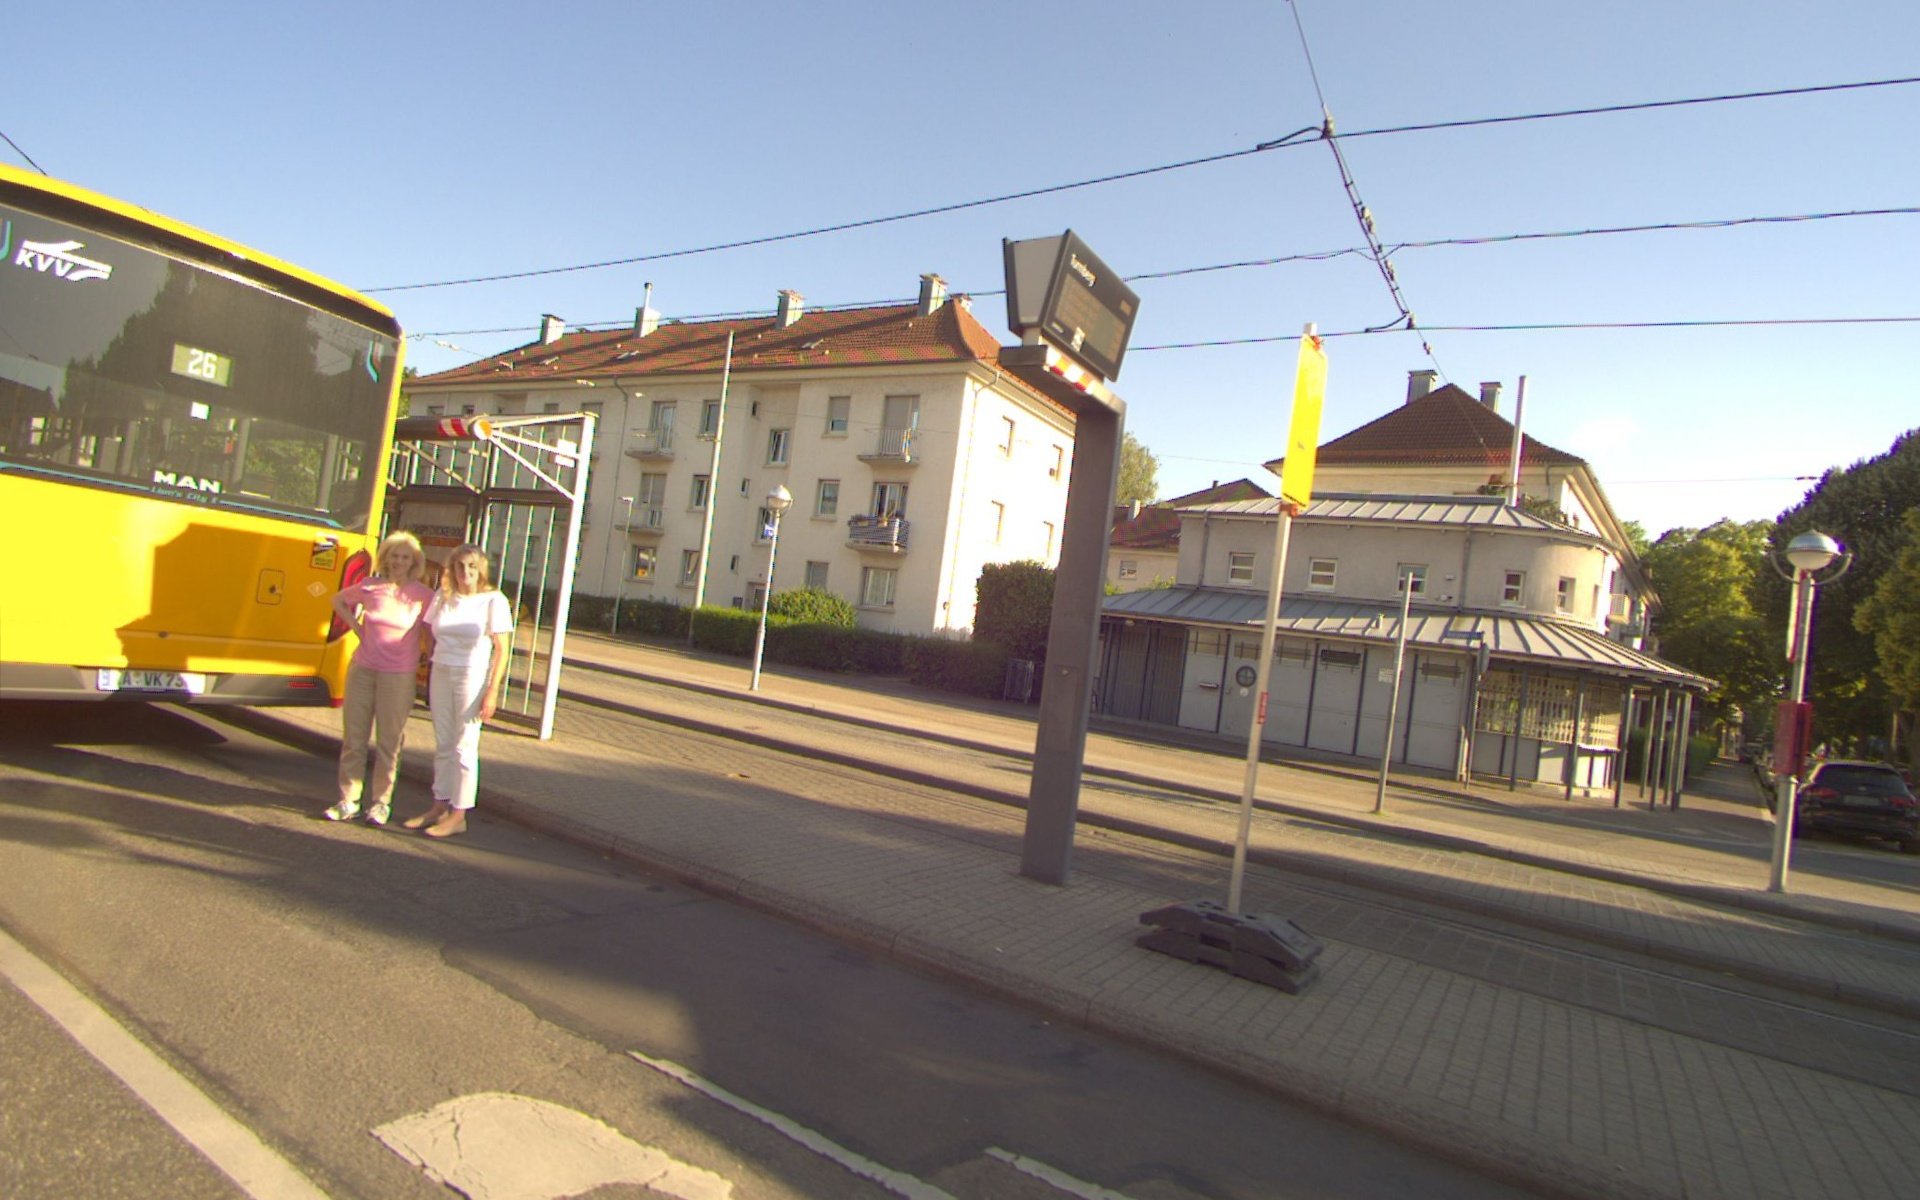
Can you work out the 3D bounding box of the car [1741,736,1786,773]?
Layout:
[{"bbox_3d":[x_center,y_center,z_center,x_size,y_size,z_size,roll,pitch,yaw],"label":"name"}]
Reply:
[{"bbox_3d":[43.632,8.360,54.666,1.767,1.677,3.798,5,-2,39],"label":"car"}]

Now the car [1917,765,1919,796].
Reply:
[{"bbox_3d":[46.604,8.569,47.201,1.971,1.733,3.986,5,-3,39],"label":"car"}]

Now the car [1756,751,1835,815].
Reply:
[{"bbox_3d":[27.275,5.927,32.933,1.767,1.641,3.798,5,-3,39],"label":"car"}]

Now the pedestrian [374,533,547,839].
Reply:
[{"bbox_3d":[-2.862,0.484,5.816,0.540,1.631,0.546,7,-1,-5],"label":"pedestrian"}]

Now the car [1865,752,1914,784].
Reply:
[{"bbox_3d":[61.566,11.106,66.689,1.971,1.733,3.986,5,-3,39],"label":"car"}]

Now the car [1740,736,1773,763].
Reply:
[{"bbox_3d":[59.766,11.180,75.483,1.767,1.677,3.798,5,-2,39],"label":"car"}]

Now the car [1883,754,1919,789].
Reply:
[{"bbox_3d":[56.849,10.292,60.193,1.971,1.733,3.986,5,-3,39],"label":"car"}]

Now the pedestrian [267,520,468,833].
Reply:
[{"bbox_3d":[-3.346,0.426,5.736,0.625,1.631,0.546,7,-1,-5],"label":"pedestrian"}]

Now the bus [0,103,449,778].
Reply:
[{"bbox_3d":[-9.476,-1.269,9.158,11.822,3.455,2.693,7,-2,33],"label":"bus"}]

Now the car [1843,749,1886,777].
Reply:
[{"bbox_3d":[67.601,12.158,75.236,1.971,1.733,3.986,5,-3,39],"label":"car"}]

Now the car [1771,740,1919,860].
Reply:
[{"bbox_3d":[18.103,3.967,20.571,1.969,1.790,4.441,6,-2,36],"label":"car"}]

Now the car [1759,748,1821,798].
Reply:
[{"bbox_3d":[34.156,7.076,41.472,1.767,1.641,3.798,5,-3,39],"label":"car"}]

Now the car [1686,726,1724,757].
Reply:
[{"bbox_3d":[47.907,9.083,64.660,1.767,1.641,3.798,5,-3,39],"label":"car"}]

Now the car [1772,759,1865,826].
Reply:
[{"bbox_3d":[24.249,5.395,28.527,1.767,1.405,3.798,5,-3,39],"label":"car"}]

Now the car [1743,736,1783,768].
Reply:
[{"bbox_3d":[50.675,9.541,63.509,1.767,1.677,3.798,5,-2,39],"label":"car"}]

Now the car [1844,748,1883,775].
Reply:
[{"bbox_3d":[72.990,13.033,81.329,1.971,1.733,3.986,5,-3,39],"label":"car"}]
